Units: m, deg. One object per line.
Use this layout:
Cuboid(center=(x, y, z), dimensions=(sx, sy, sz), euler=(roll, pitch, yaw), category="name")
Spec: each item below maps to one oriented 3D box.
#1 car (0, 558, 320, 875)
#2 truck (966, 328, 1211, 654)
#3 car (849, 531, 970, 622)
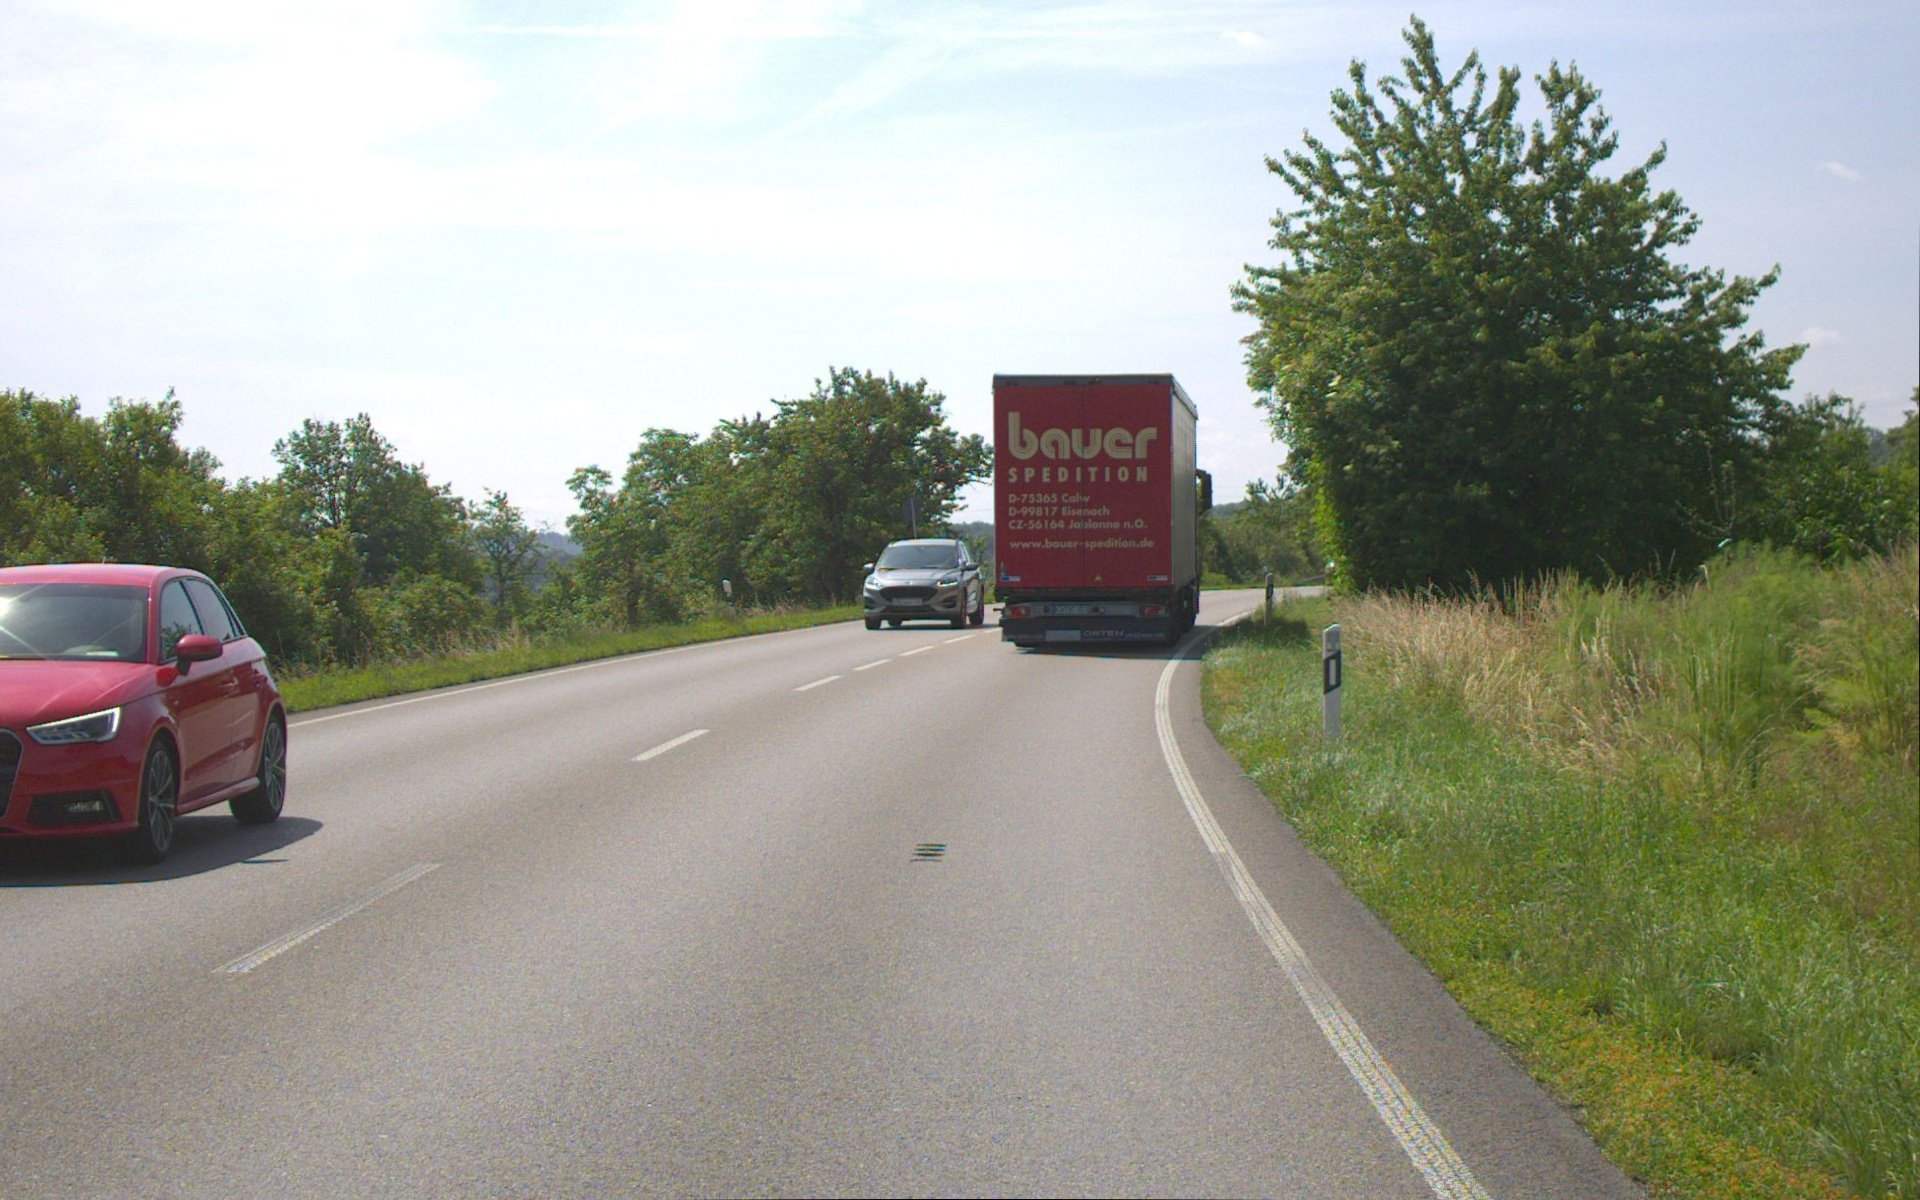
Cuboid(center=(-4.578, 0.507, 17.507), dimensions=(1.820, 1.393, 4.183), euler=(-1, 1, 0), category="car")
Cuboid(center=(2.221, -1.631, 53.957), dimensions=(3.113, 4.490, 12.165), euler=(1, 1, 5), category="truck")
Cuboid(center=(-0.909, -0.460, 64.480), dimensions=(1.957, 1.599, 4.401), euler=(-1, 1, 3), category="car")
